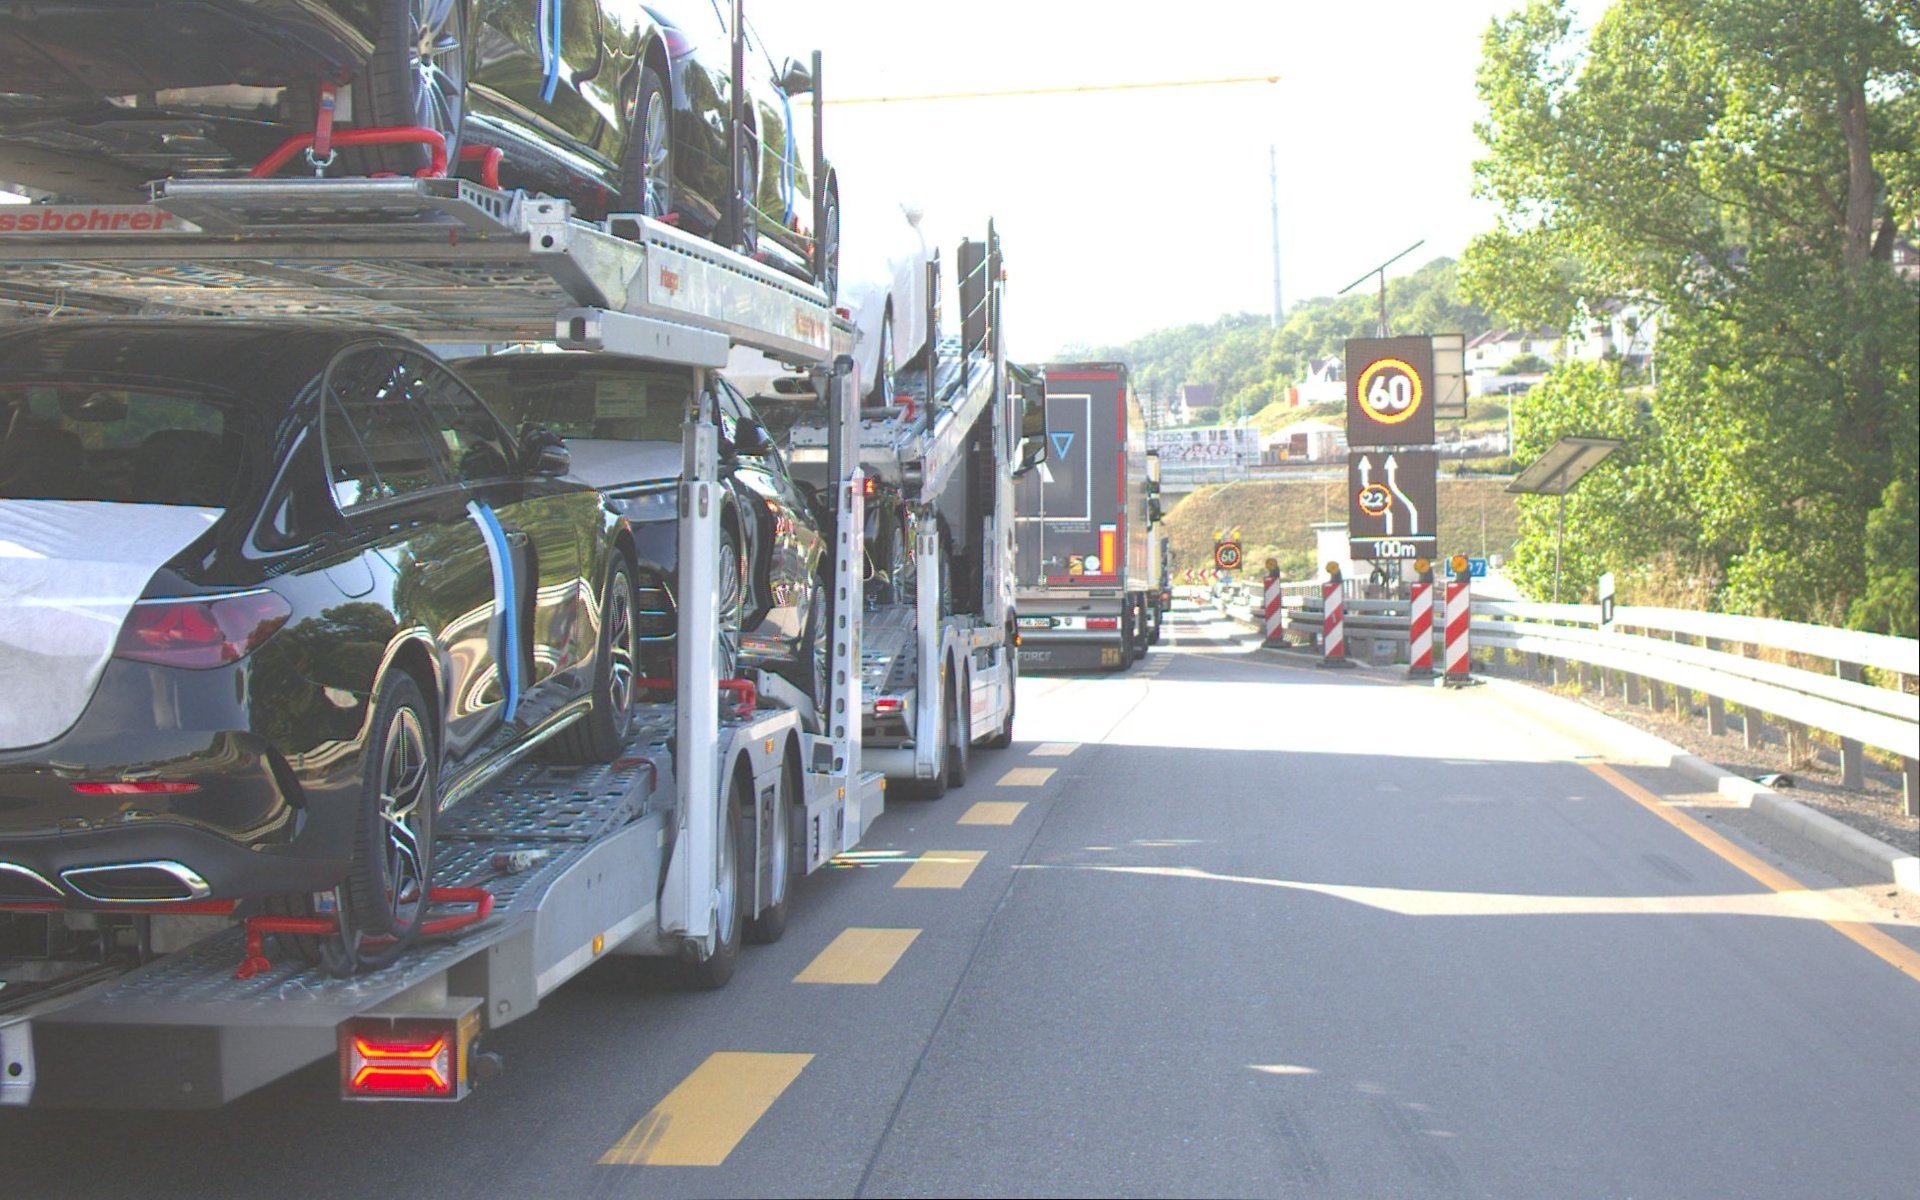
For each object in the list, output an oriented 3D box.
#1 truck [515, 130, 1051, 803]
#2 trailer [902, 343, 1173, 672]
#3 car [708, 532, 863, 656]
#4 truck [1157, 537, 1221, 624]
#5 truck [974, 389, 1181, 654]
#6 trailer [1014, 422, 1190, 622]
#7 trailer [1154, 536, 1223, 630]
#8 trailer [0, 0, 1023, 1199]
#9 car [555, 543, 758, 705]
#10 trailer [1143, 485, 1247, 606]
[{"bbox_3d":[-0.985,-0.844,24.022,2.849,3.983,6.624,-1,1,4],"label":"truck"},{"bbox_3d":[1.321,-1.257,49.155,2.959,4.078,10.791,-2,1,5],"label":"trailer"},{"bbox_3d":[-2.487,-0.107,49.862,1.830,1.648,4.000,-3,1,2],"label":"car"},{"bbox_3d":[11.725,-1.026,175.458,3.098,4.271,6.624,-1,1,4],"label":"truck"},{"bbox_3d":[2.010,-1.248,55.974,2.885,3.983,6.623,-1,1,5],"label":"truck"},{"bbox_3d":[3.371,-1.689,77.282,3.385,3.983,14.743,-1,1,4],"label":"trailer"},{"bbox_3d":[11.143,-0.881,166.739,3.104,4.299,14.250,-1,1,4],"label":"trailer"},{"bbox_3d":[-1.637,-0.689,14.727,2.857,3.983,15.744,-1,1,4],"label":"trailer"},{"bbox_3d":[-3.551,0.245,40.863,1.830,1.746,4.000,-3,1,2],"label":"car"},{"bbox_3d":[8.425,-1.925,122.738,3.385,3.983,14.743,-1,1,4],"label":"trailer"}]
